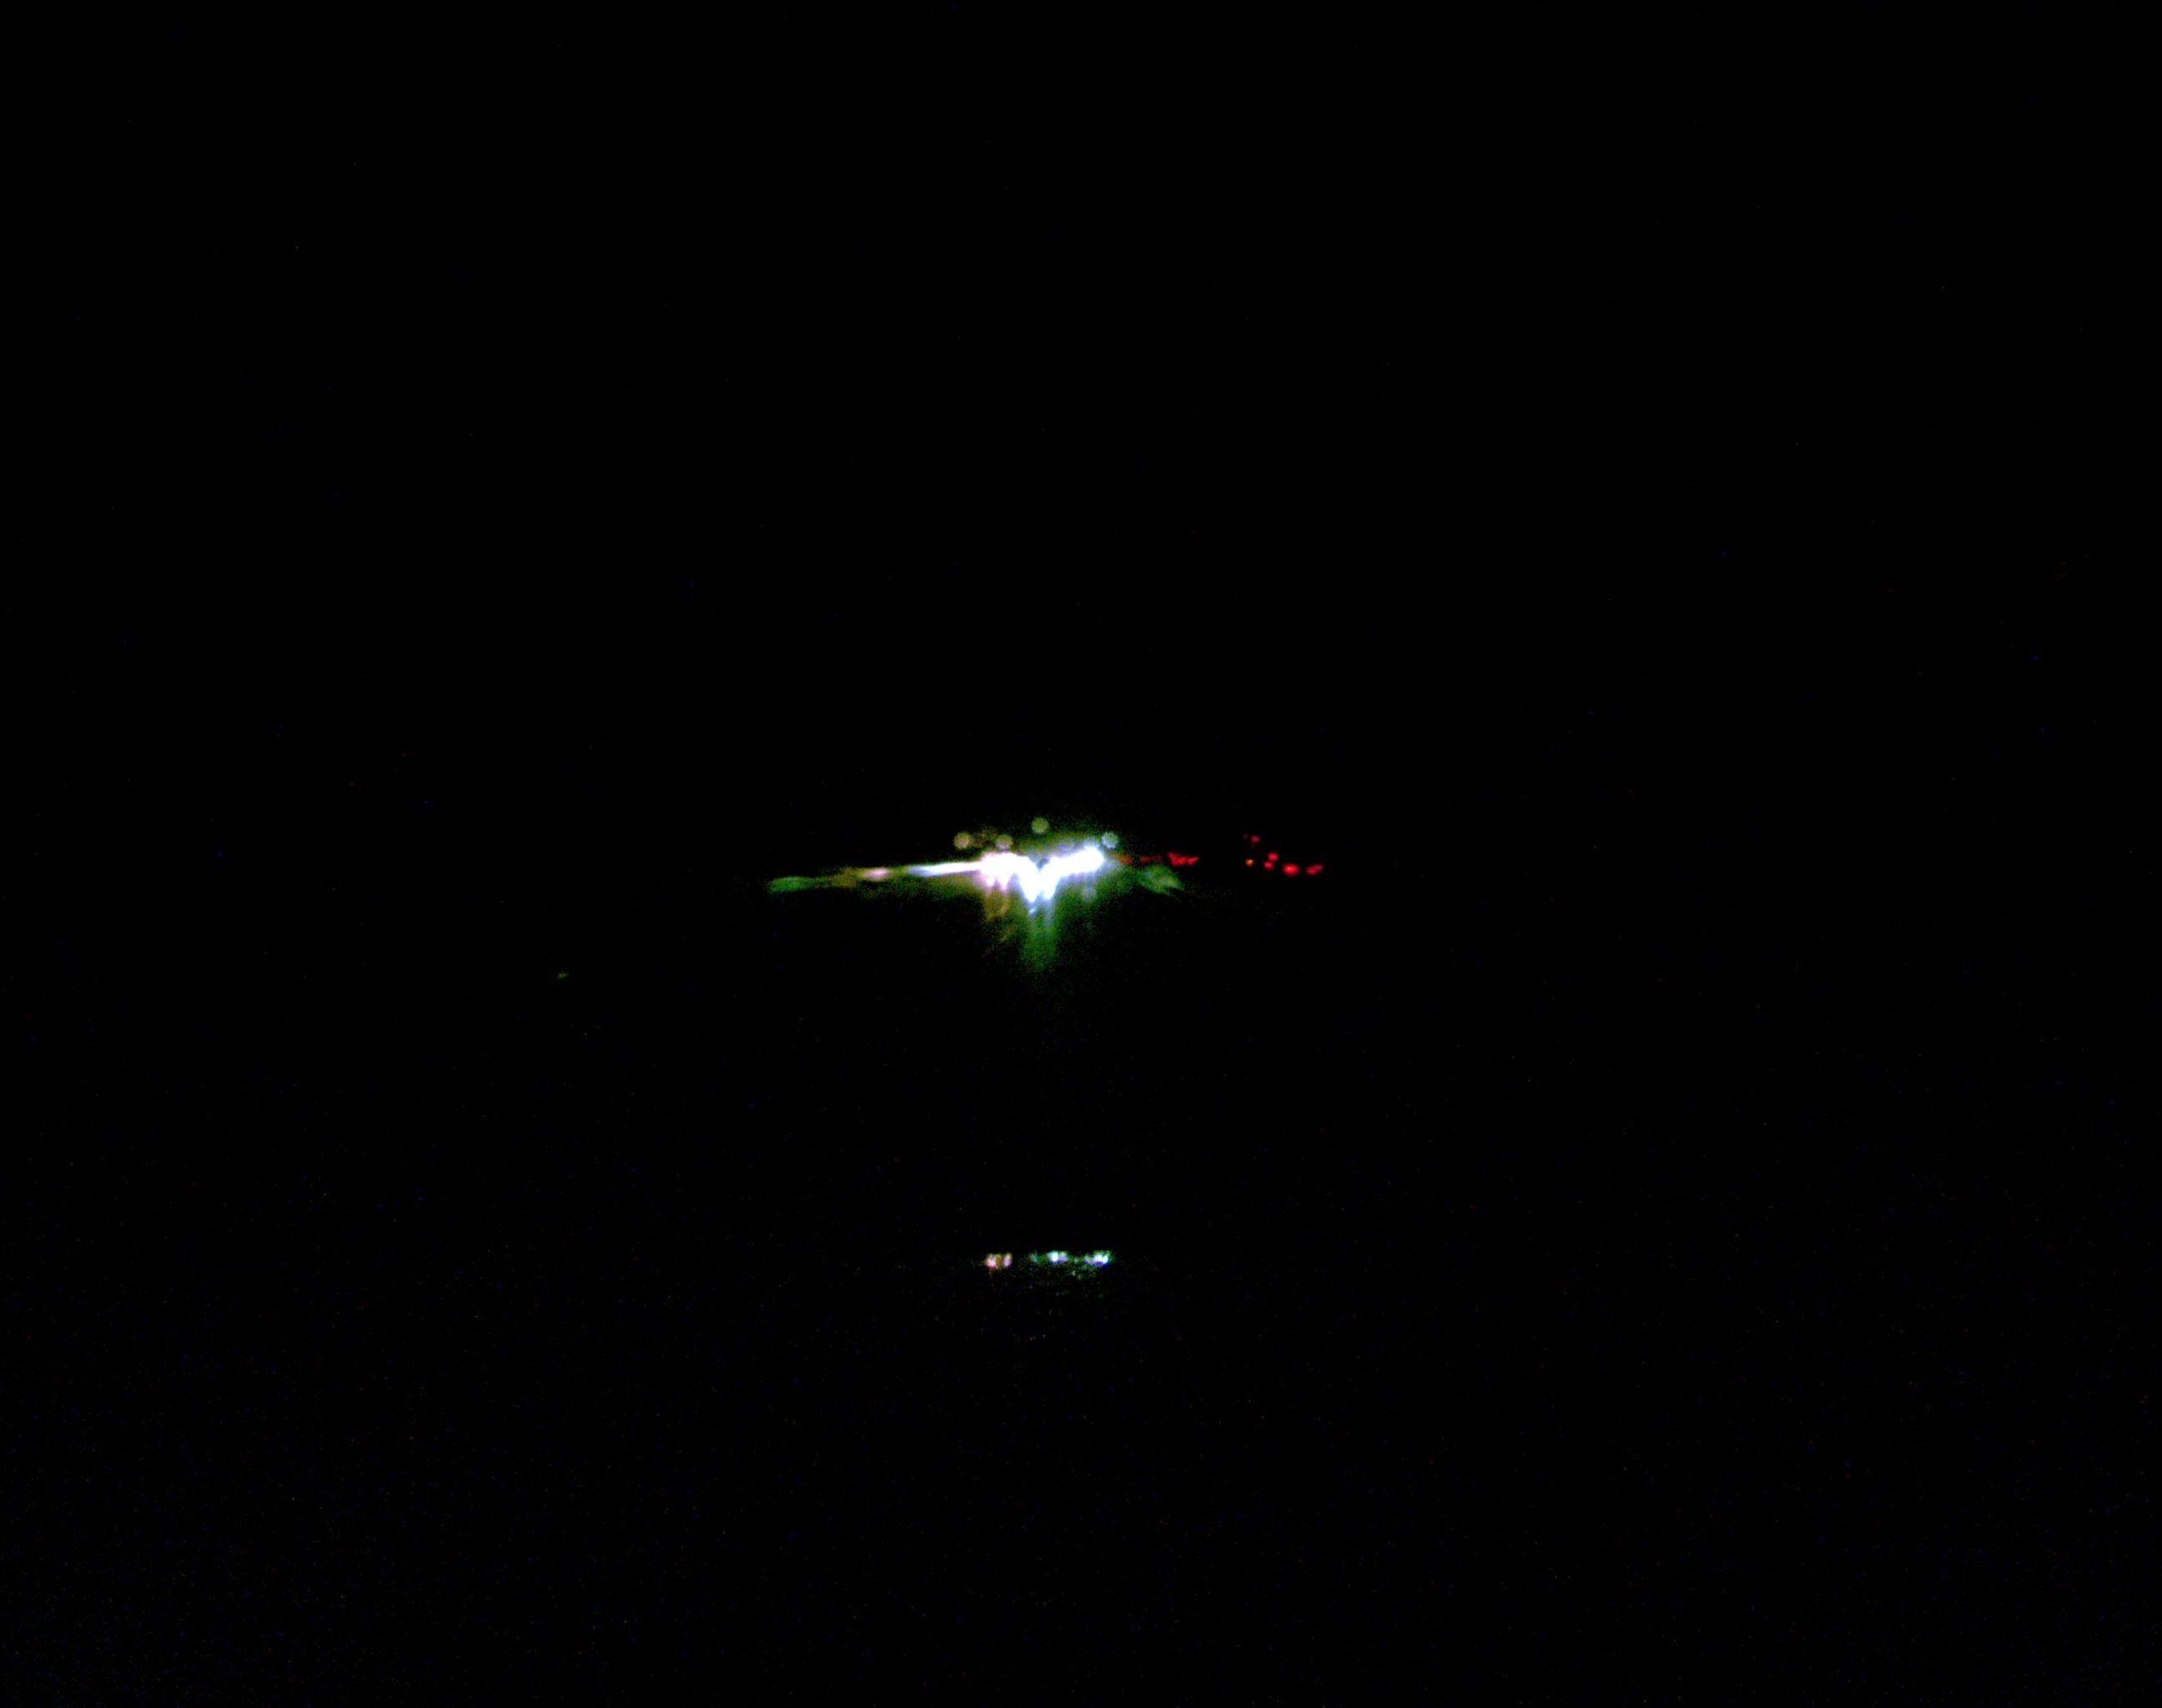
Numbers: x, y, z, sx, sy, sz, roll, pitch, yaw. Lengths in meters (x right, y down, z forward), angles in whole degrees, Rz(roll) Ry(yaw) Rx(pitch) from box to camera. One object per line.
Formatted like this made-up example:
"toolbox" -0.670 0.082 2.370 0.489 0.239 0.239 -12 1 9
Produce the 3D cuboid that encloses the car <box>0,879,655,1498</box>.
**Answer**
"car" -3.854 0.999 2.995 1.745 1.566 4.493 -1 1 0

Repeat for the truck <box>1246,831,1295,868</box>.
"truck" 21.381 -0.482 86.557 2.875 3.885 10.211 -1 0 -1

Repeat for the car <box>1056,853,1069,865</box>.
"car" -2.756 0.743 113.187 1.883 1.653 4.000 -3 -1 -1

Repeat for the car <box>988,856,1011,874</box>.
"car" -6.969 0.927 65.295 1.644 1.494 4.012 -1 0 -2

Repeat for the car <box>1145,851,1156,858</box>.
"car" 15.599 0.105 170.483 1.998 1.432 4.437 0 0 1

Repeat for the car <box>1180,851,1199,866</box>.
"car" 14.768 0.563 103.851 1.998 2.002 4.000 -1 0 0

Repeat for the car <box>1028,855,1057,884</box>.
"car" -2.918 1.162 57.621 1.999 2.002 3.999 -2 0 -3

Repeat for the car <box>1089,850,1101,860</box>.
"car" 2.532 0.116 138.186 1.883 1.653 4.000 -3 -1 -1

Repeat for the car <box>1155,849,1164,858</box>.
"car" 19.242 -0.164 186.131 1.998 2.002 5.361 -1 0 3

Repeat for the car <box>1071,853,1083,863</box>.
"car" -0.703 0.676 131.671 1.883 1.653 4.000 -3 -1 -1

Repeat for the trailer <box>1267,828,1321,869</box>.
"trailer" 21.485 -0.503 77.088 2.864 3.877 8.704 -1 0 -1

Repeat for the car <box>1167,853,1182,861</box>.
"car" 17.504 0.596 142.137 1.999 1.550 4.532 -1 0 -2
